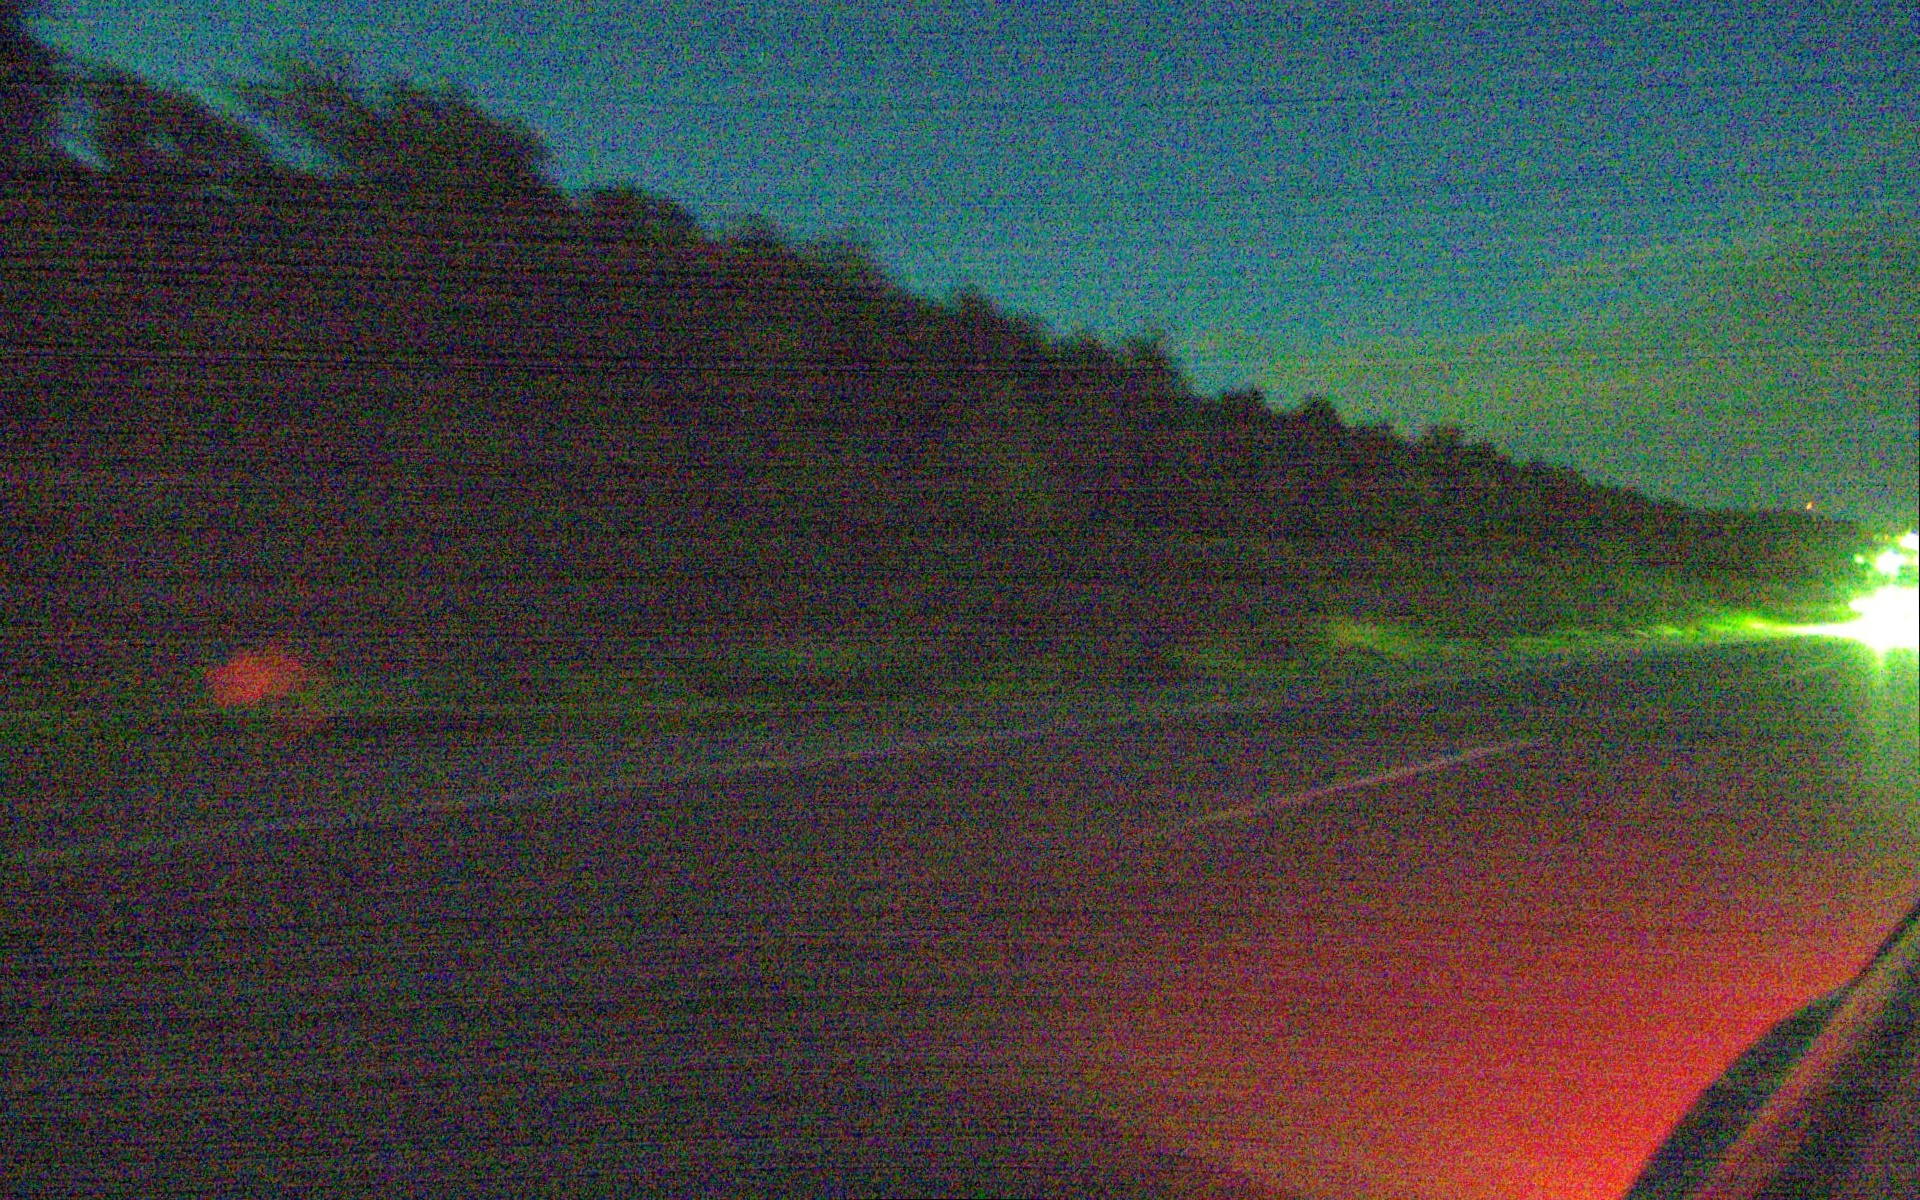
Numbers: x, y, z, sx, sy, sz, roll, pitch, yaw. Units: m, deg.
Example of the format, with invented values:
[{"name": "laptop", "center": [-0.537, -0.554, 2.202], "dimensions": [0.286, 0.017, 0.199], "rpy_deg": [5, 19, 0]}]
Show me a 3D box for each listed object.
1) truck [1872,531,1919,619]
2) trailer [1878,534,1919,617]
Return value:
[{"name": "truck", "center": [51.415, -1.315, 54.214], "dimensions": [6.879, 4.489, 3.340], "rpy_deg": [-1, 0, -44]}, {"name": "trailer", "center": [56.614, -1.426, 59.310], "dimensions": [13.354, 4.489, 3.340], "rpy_deg": [-1, 0, -44]}]
